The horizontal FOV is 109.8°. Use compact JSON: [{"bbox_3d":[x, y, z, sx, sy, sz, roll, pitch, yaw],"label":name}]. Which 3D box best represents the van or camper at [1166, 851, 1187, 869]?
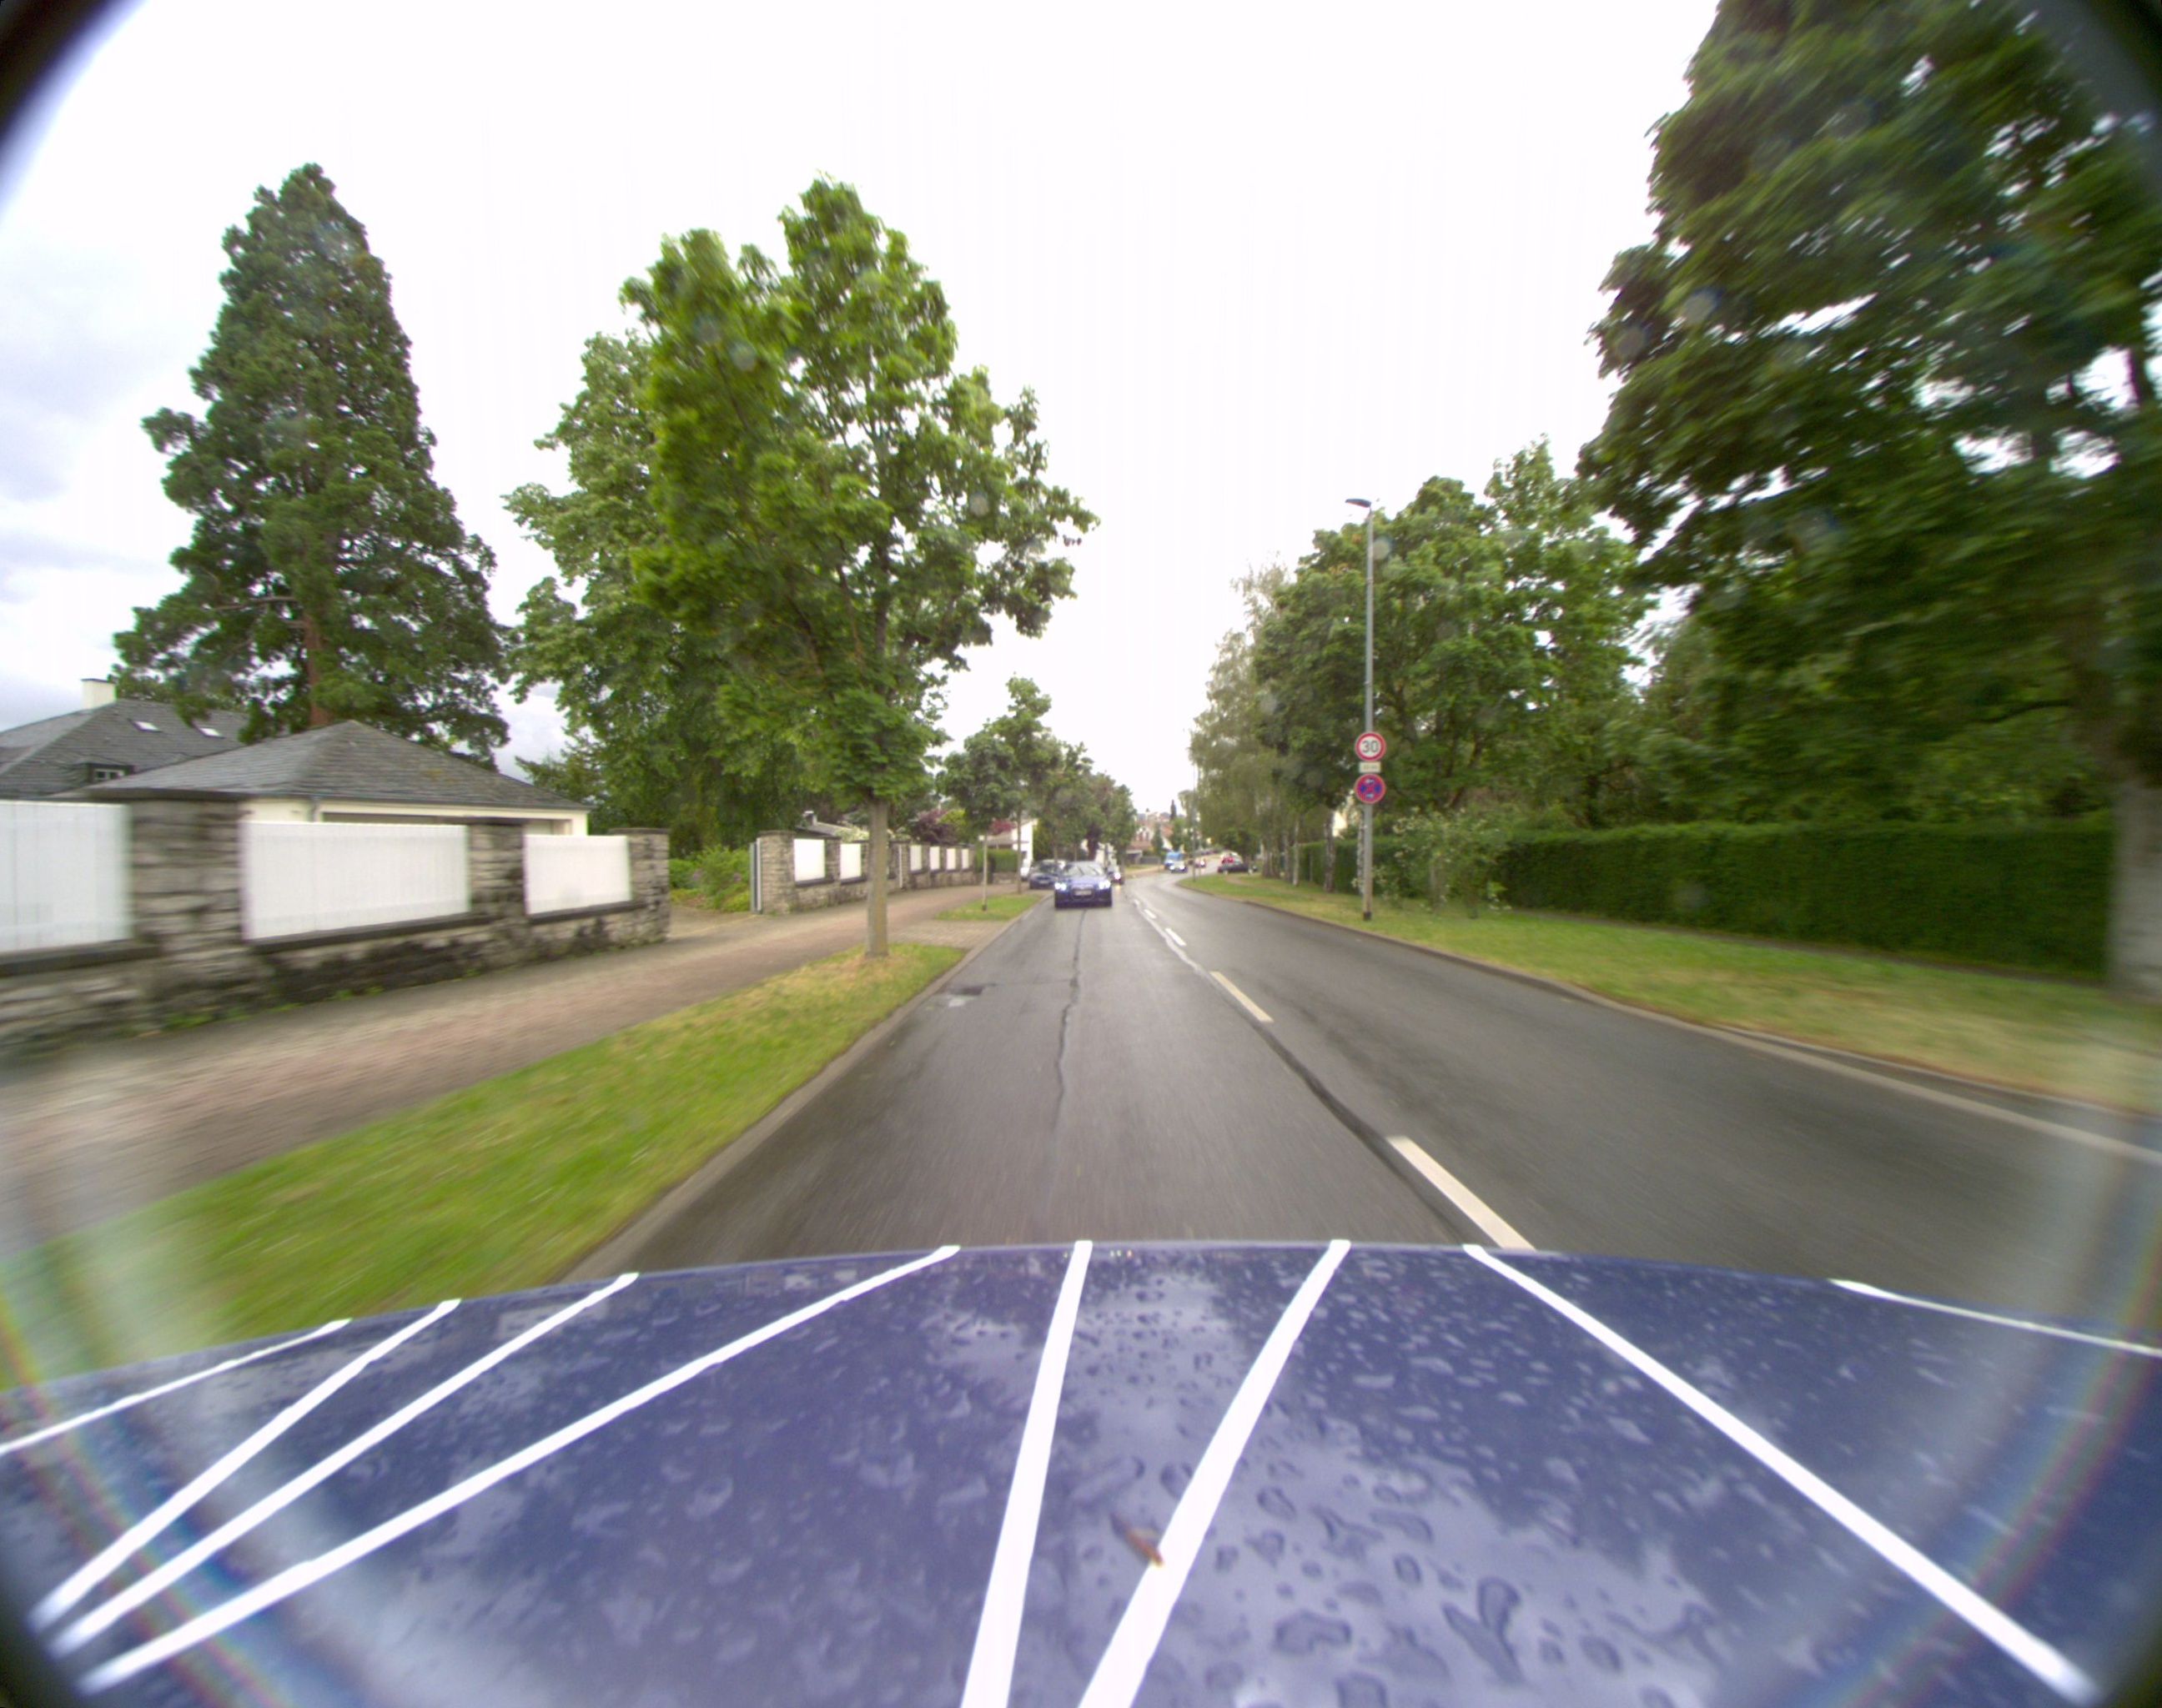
[{"bbox_3d":[14.644,0.923,116.303,2.146,2.594,5.788,1,1,17],"label":"van or camper"}]

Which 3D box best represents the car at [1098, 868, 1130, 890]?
[{"bbox_3d":[2.523,1.841,56.896,1.845,1.531,4.003,-2,-1,9],"label":"car"}]

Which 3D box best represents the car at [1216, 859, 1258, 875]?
[{"bbox_3d":[17.599,1.469,85.456,4.434,1.409,1.758,-4,-1,16],"label":"car"}]

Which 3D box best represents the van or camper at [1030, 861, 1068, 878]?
[{"bbox_3d":[-3.175,1.498,75.123,3.408,1.546,1.770,2,0,7],"label":"van or camper"}]

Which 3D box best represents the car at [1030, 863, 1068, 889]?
[{"bbox_3d":[-1.784,1.205,43.224,1.645,1.369,3.831,1,0,4],"label":"car"}]

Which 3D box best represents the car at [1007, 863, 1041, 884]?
[{"bbox_3d":[-4.715,1.596,63.868,1.797,1.747,4.947,0,-1,8],"label":"car"}]

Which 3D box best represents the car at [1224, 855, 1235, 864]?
[{"bbox_3d":[26.574,0.971,135.695,1.758,1.432,4.161,-2,-1,10],"label":"car"}]

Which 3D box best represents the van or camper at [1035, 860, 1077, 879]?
[{"bbox_3d":[-2.628,1.650,80.690,4.018,1.778,1.950,3,1,15],"label":"van or camper"}]

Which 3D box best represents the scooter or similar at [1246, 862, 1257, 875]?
[{"bbox_3d":[16.756,1.415,74.521,0.424,1.151,1.493,-3,-1,36],"label":"scooter or similar"}]

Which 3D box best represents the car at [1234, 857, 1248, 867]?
[{"bbox_3d":[26.645,1.351,126.085,1.773,1.597,4.005,-1,1,19],"label":"car"}]

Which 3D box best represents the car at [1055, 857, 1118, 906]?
[{"bbox_3d":[0.272,0.916,26.762,1.895,1.531,4.002,-2,-1,4],"label":"car"}]

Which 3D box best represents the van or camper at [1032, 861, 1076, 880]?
[{"bbox_3d":[-2.747,1.702,78.170,3.992,1.668,2.125,3,1,12],"label":"van or camper"}]

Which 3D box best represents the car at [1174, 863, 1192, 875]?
[{"bbox_3d":[13.982,2.049,104.321,1.893,1.531,4.005,-2,-1,16],"label":"car"}]

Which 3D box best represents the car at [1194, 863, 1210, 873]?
[{"bbox_3d":[19.752,2.289,123.754,1.893,1.531,4.005,-2,-1,18],"label":"car"}]
